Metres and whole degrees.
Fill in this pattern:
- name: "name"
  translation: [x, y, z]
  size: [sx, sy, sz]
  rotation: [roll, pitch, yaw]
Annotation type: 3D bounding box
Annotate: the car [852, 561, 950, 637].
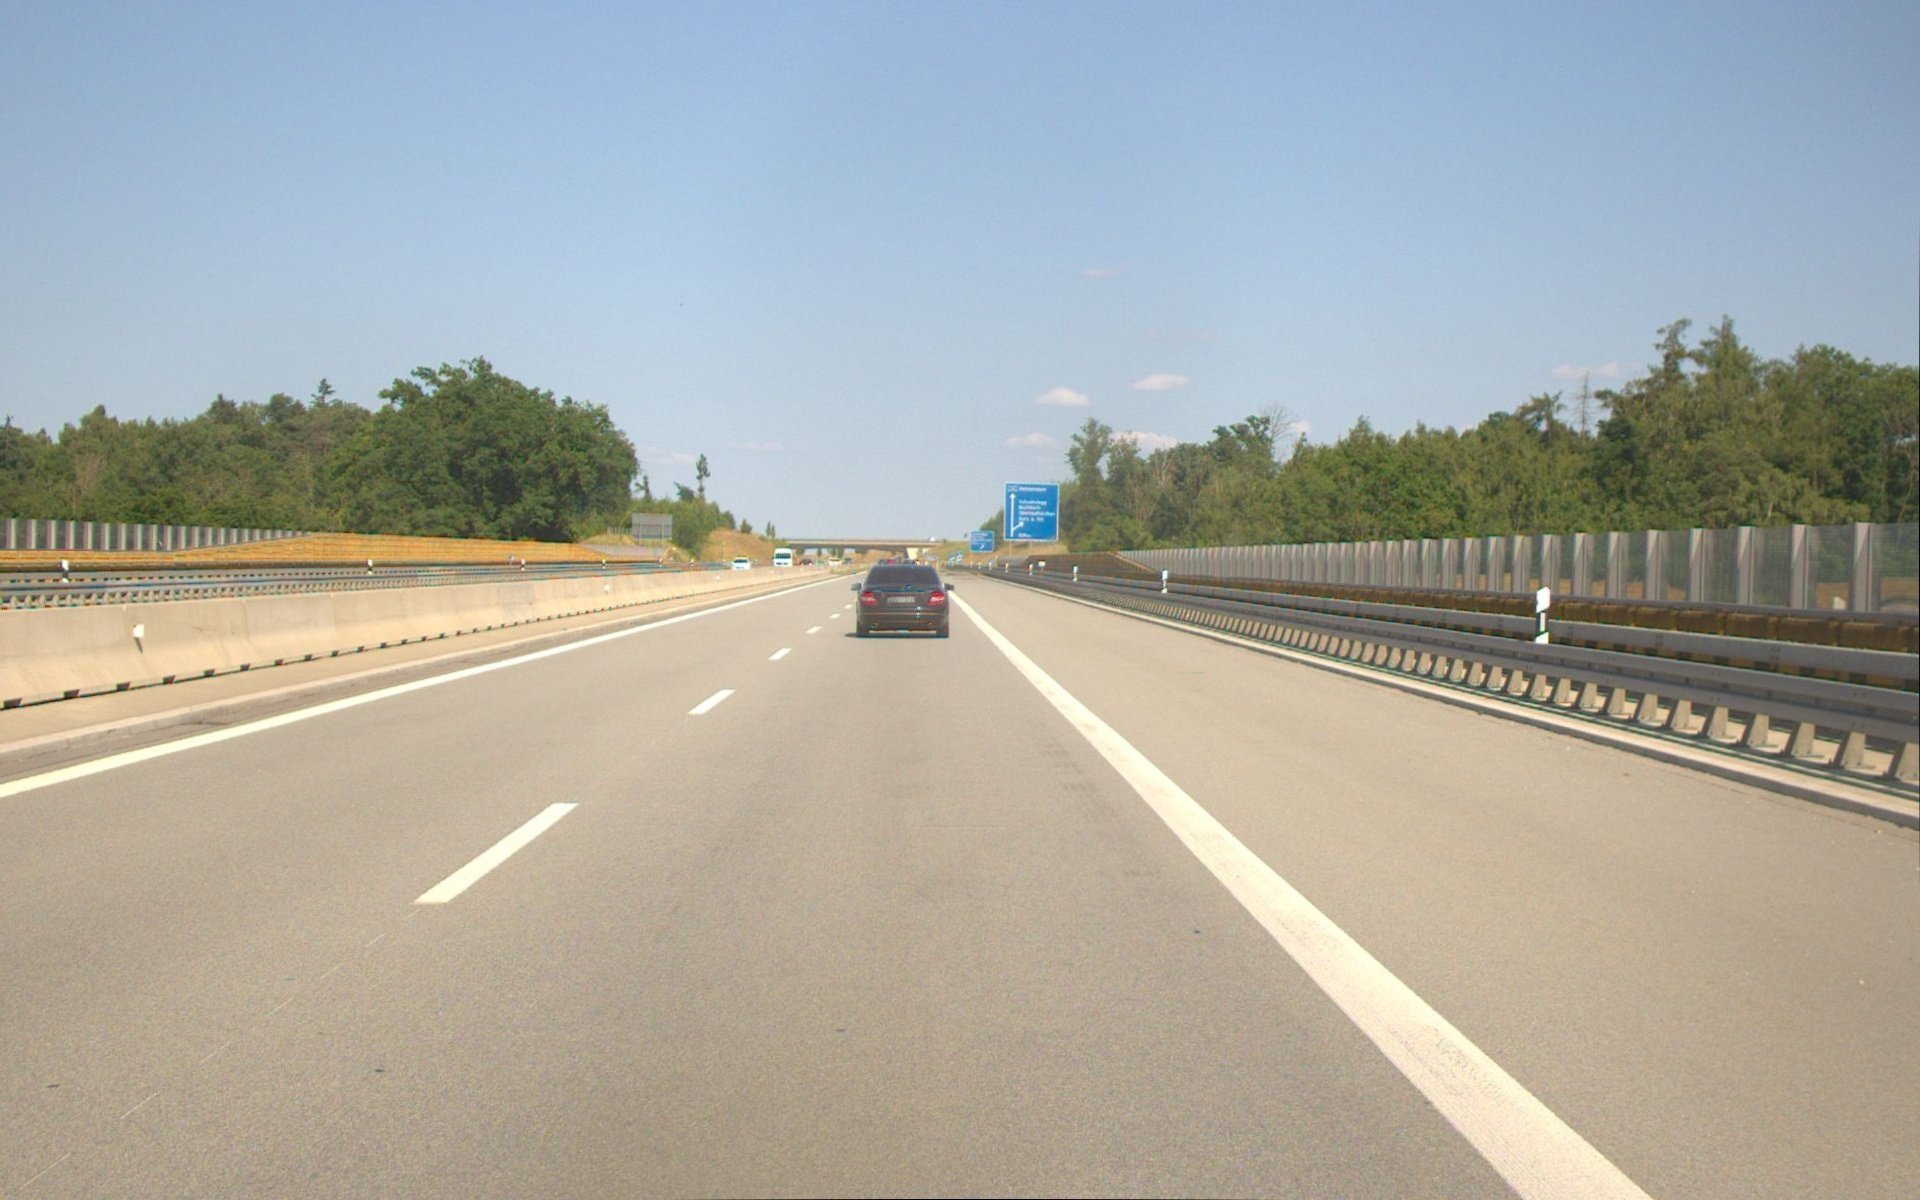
- name: "car"
  translation: [-1.102, -0.048, 65.817]
  size: [1.790, 1.369, 3.917]
  rotation: [1, 1, 0]
